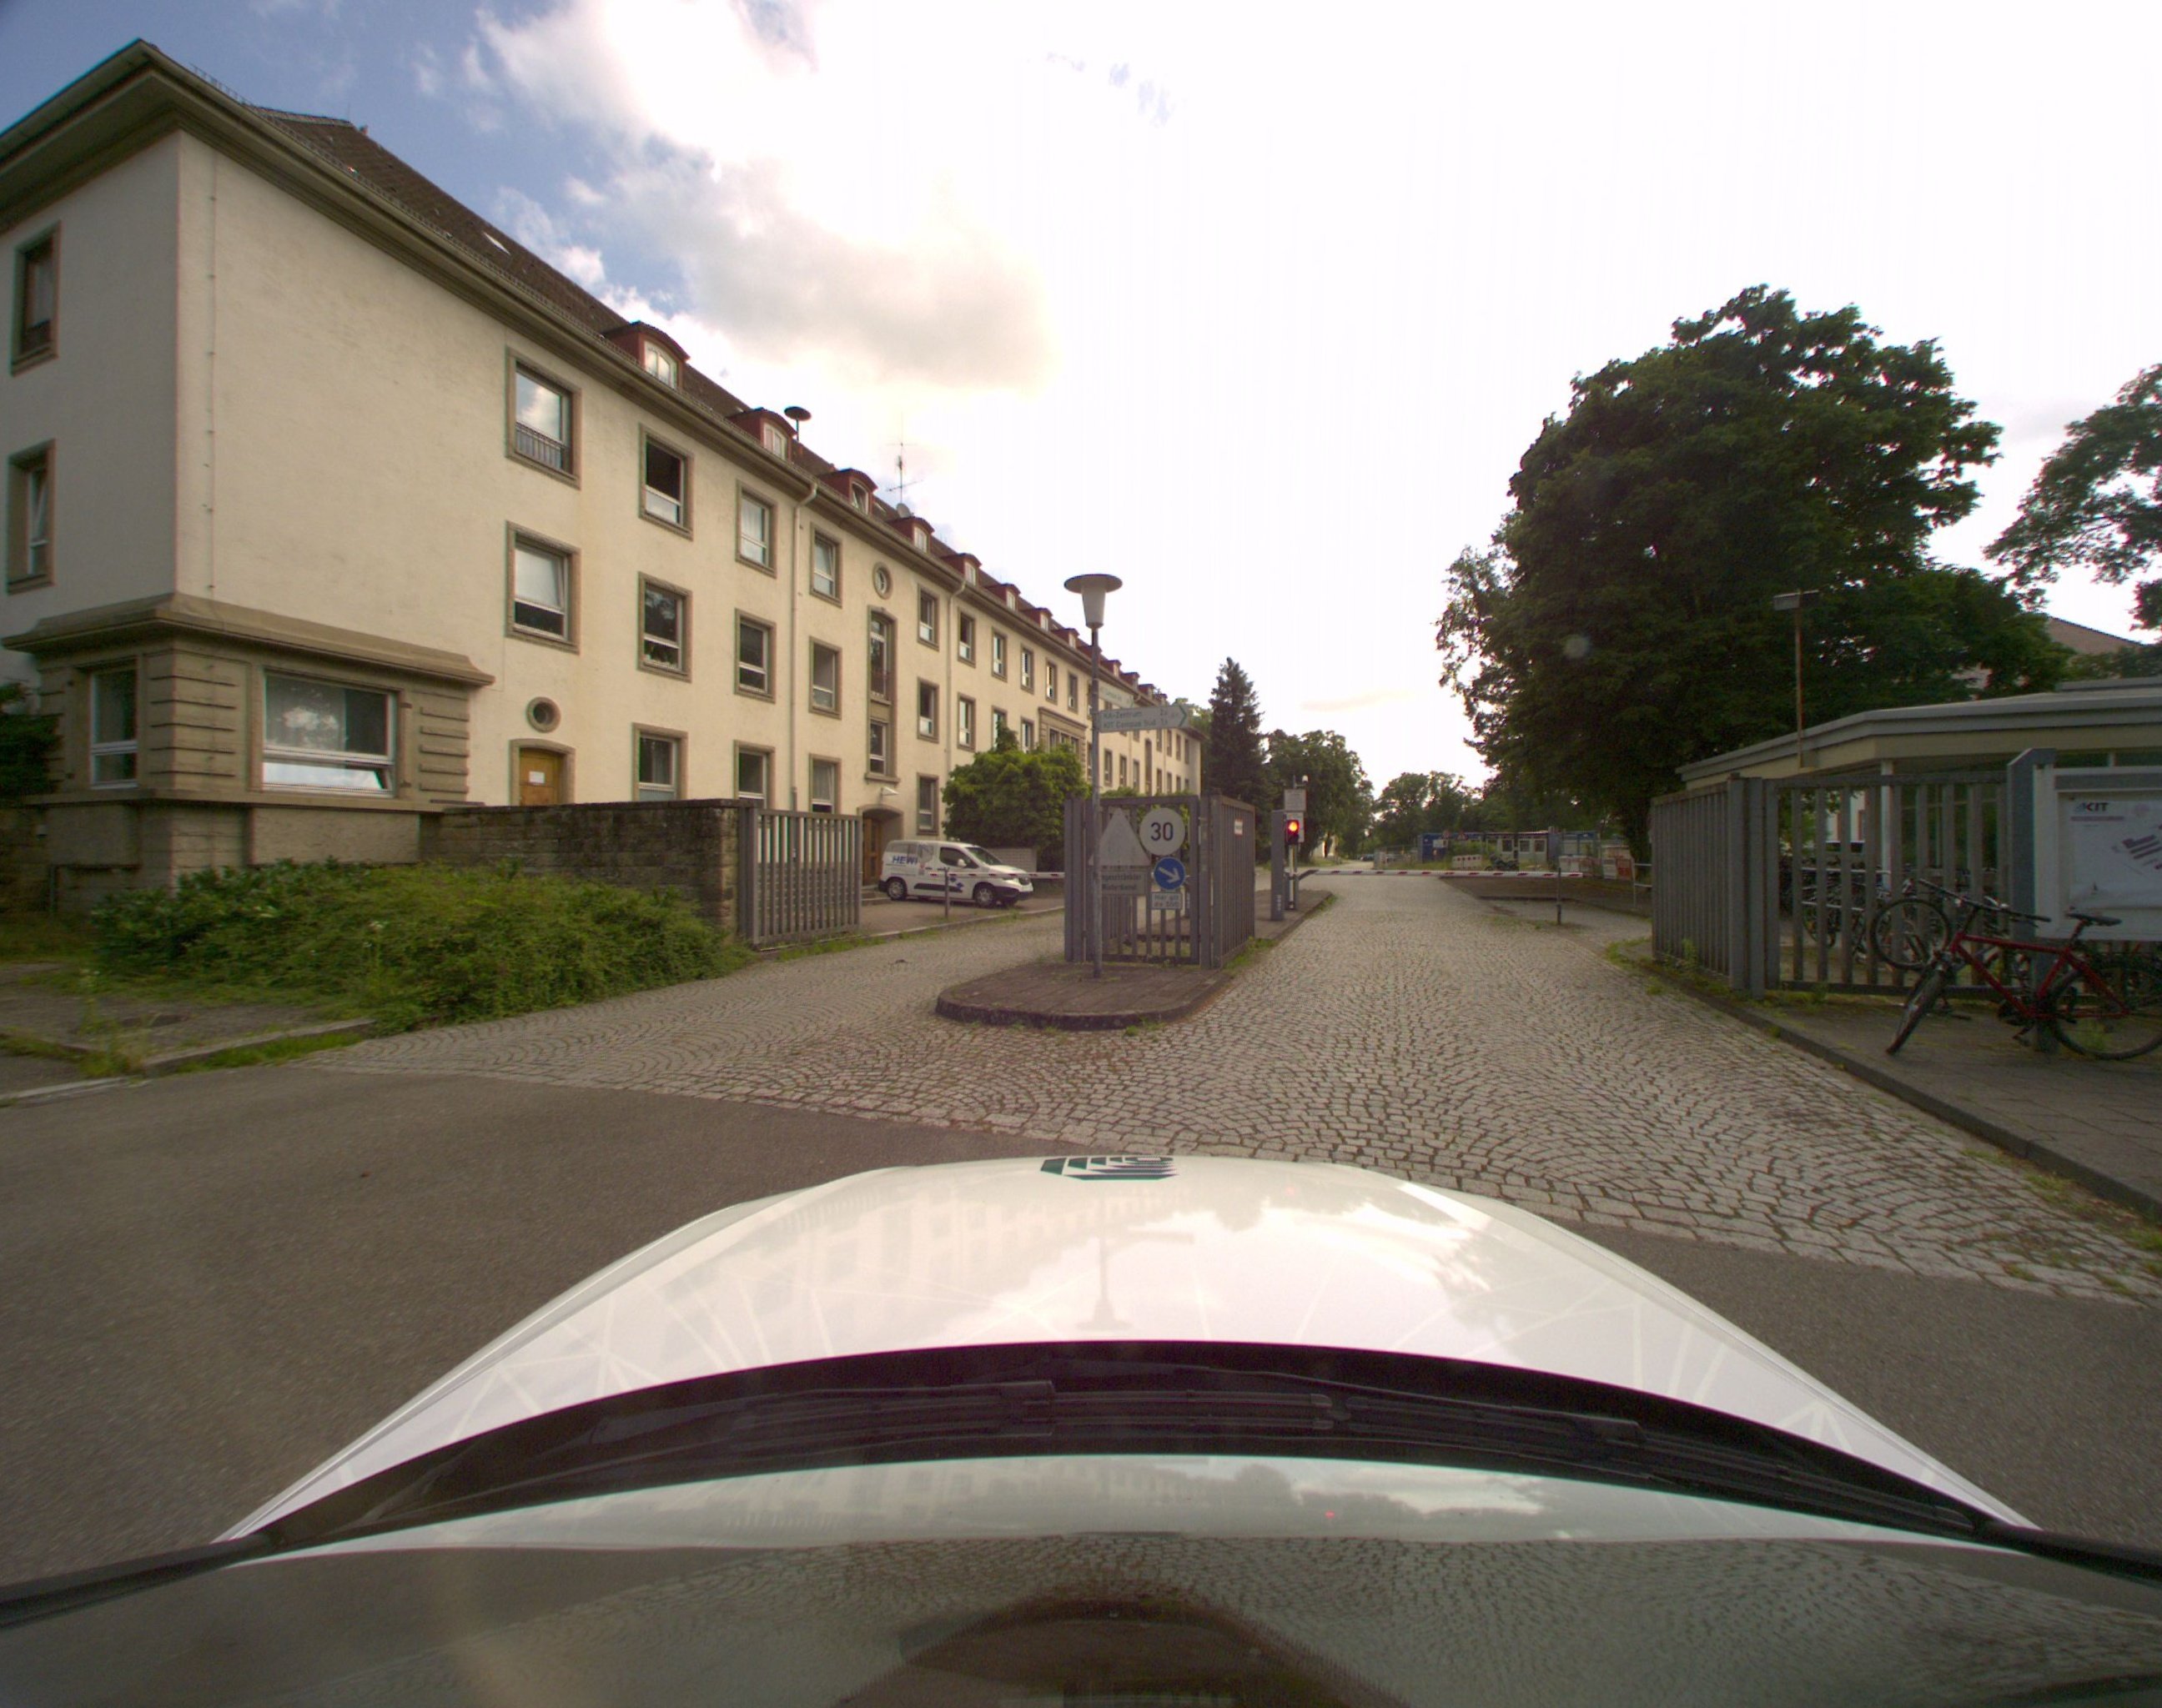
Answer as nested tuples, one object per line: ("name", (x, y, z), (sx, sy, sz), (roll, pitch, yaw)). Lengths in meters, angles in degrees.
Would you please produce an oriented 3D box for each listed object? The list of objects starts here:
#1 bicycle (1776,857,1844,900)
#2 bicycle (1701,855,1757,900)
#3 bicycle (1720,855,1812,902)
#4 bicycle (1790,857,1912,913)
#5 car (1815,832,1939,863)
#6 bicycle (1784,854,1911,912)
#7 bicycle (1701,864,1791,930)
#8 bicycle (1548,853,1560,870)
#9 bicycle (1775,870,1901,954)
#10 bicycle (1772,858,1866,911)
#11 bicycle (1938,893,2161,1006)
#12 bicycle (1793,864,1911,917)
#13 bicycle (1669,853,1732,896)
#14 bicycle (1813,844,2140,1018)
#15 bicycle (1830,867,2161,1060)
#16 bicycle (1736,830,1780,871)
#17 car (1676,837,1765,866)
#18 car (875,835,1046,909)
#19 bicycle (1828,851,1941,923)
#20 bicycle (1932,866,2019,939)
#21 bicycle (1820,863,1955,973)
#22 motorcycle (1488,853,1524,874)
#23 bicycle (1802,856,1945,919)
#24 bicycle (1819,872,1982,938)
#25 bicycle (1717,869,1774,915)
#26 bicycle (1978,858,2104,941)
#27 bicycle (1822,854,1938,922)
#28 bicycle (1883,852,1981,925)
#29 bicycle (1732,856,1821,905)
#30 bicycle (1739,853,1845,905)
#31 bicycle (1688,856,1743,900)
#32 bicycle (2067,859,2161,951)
("bicycle", (19.163, 0.630, 21.464), (0.368, 1.081, 1.903), (-1, -2, 10))
("bicycle", (17.298, 0.631, 21.747), (1.379, 1.171, 0.357), (0, -2, -12))
("bicycle", (17.329, 0.621, 20.634), (1.787, 1.171, 0.360), (-1, -2, 14))
("bicycle", (16.258, 0.656, 17.223), (1.967, 1.171, 0.402), (0, -2, 9))
("car", (44.675, -0.343, 45.898), (1.992, 1.650, 4.827), (0, -1, -7))
("bicycle", (15.775, 0.608, 16.788), (2.004, 1.171, 0.402), (0, -2, 8))
("bicycle", (11.856, 0.740, 14.578), (0.724, 1.072, 1.723), (-1, 0, 21))
("bicycle", (30.142, 0.478, 51.906), (0.329, 1.008, 1.734), (-1, -2, 20))
("bicycle", (10.542, 0.770, 11.410), (0.724, 1.057, 1.602), (-1, 0, 21))
("bicycle", (16.514, 0.676, 18.233), (1.694, 1.160, 0.401), (0, -2, 1))
("bicycle", (9.364, 0.861, 7.552), (1.928, 0.968, 0.460), (-1, 0, 22))
("bicycle", (15.432, 0.733, 16.326), (1.757, 1.031, 0.355), (-1, -2, 13))
("bicycle", (17.290, 0.571, 22.737), (1.374, 1.171, 0.433), (-2, -2, -1))
("bicycle", (7.878, 0.644, 7.285), (1.883, 1.417, 0.519), (-1, -2, 26))
("bicycle", (6.755, 0.756, 5.968), (1.721, 1.277, 0.676), (-2, -1, 17))
("bicycle", (20.484, -0.093, 24.657), (0.500, 1.171, 1.562), (-1, -2, 20))
("car", (41.377, -0.115, 52.803), (4.183, 1.820, 2.011), (0, -1, 22))
("car", (-3.441, 0.474, 23.477), (4.402, 1.751, 1.867), (4, 1, 17))
("bicycle", (13.896, 0.567, 14.090), (1.646, 1.171, 0.435), (-1, -2, -8))
("bicycle", (14.342, 0.760, 13.049), (1.655, 1.119, 0.432), (1, -3, -25))
("bicycle", (9.763, 0.726, 9.934), (0.497, 1.170, 1.725), (-1, 1, 21))
("motorcycle", (26.847, 0.601, 51.449), (1.940, 1.195, 0.464), (-2, 4, 19))
("bicycle", (15.056, 0.633, 15.524), (1.934, 1.171, 0.487), (-1, -2, 15))
("bicycle", (14.896, 0.918, 14.863), (2.053, 1.171, 0.488), (-1, -2, 19))
("bicycle", (17.411, 0.988, 21.349), (1.379, 1.171, 0.357), (0, -2, -12))
("bicycle", (14.973, 0.744, 12.761), (0.431, 1.084, 1.602), (-1, -11, 20))
("bicycle", (14.135, 0.604, 14.444), (1.379, 1.171, 0.438), (-1, -3, 21))
("bicycle", (14.264, 0.575, 13.649), (1.652, 1.171, 0.433), (1, -2, -18))
("bicycle", (17.124, 0.651, 20.076), (1.738, 1.171, 0.497), (0, -2, 0))
("bicycle", (16.437, 0.588, 18.864), (1.790, 1.171, 0.585), (0, -2, 8))
("bicycle", (17.252, 0.658, 22.150), (1.379, 1.171, 0.357), (0, -2, -12))
("bicycle", (14.210, 0.670, 11.109), (0.430, 1.171, 1.735), (-2, -3, 33))
